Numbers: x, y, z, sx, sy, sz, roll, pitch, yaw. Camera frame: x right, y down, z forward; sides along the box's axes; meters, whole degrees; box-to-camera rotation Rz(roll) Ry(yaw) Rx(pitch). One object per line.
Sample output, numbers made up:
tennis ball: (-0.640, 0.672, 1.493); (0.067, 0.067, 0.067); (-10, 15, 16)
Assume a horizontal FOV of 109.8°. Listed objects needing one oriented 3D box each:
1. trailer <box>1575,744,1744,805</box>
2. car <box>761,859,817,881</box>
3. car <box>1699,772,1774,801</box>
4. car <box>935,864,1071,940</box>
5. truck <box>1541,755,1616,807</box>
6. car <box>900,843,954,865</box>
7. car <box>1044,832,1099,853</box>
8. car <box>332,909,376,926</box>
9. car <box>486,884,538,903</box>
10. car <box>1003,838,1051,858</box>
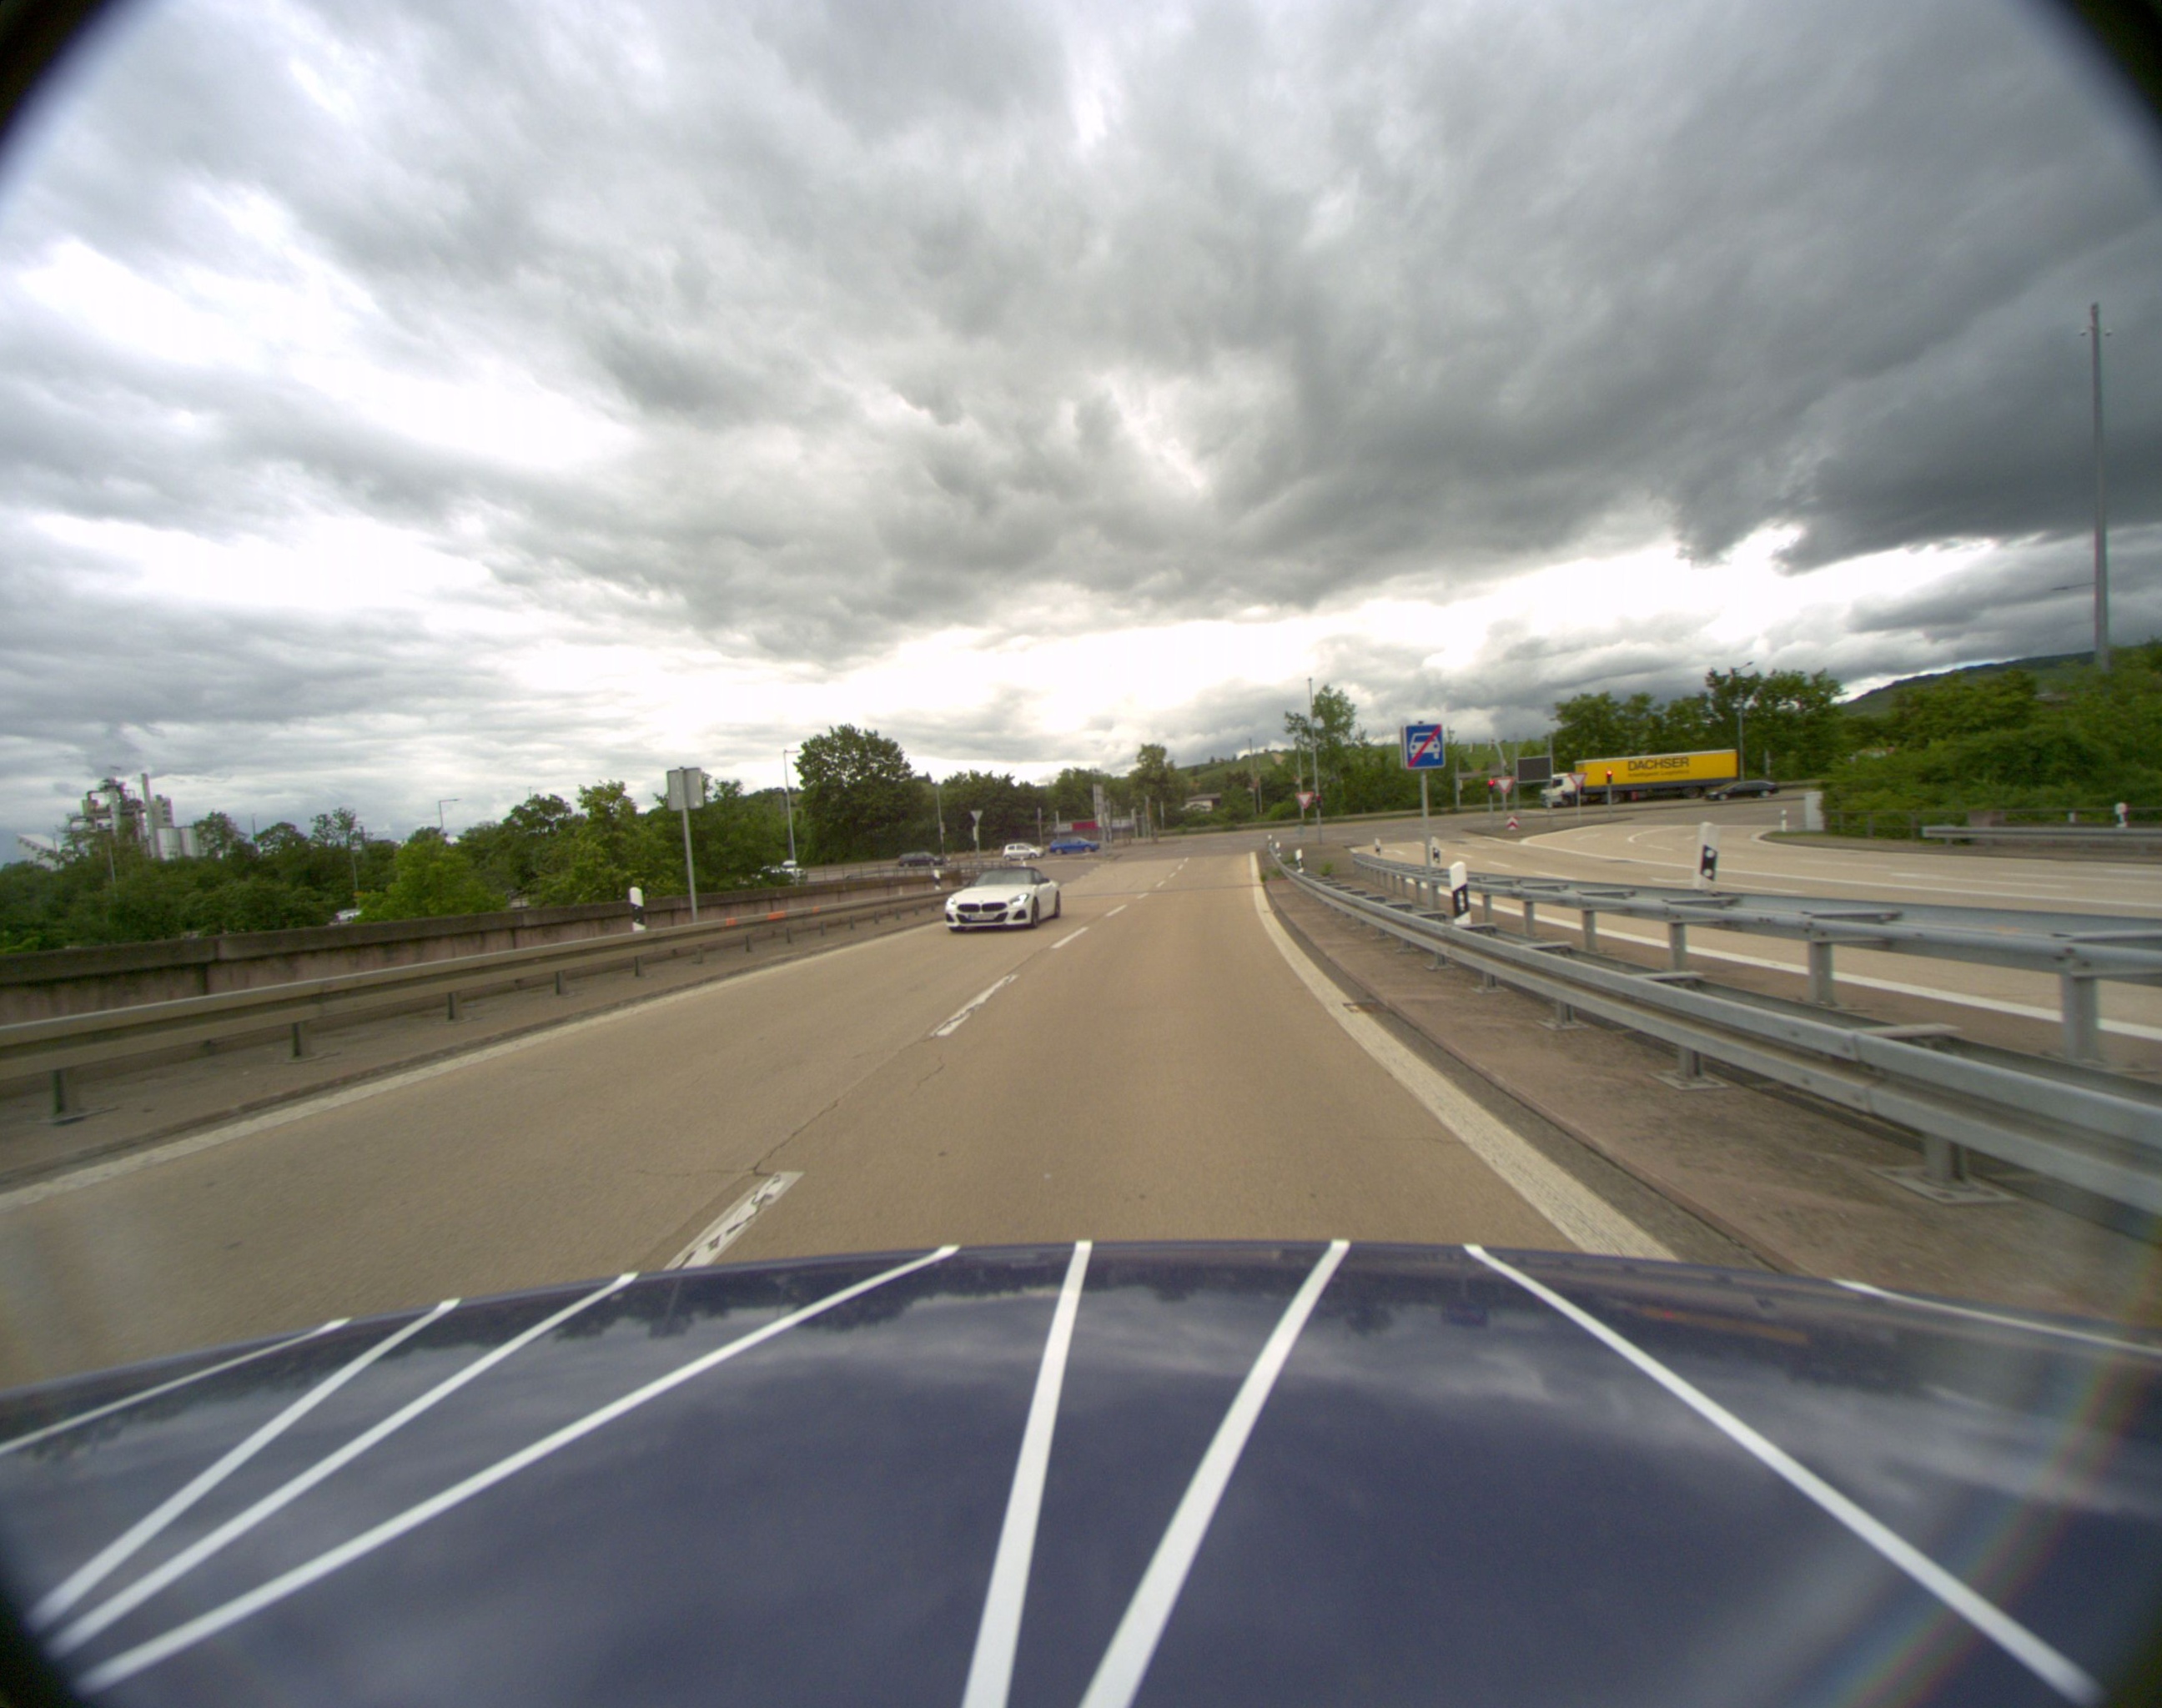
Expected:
trailer: (50.984, -6.937, 67.379); (11.634, 4.182, 2.637); (-4, 4, 18)
car: (-28.716, 1.571, 74.658); (4.708, 1.552, 1.878); (-5, 4, 12)
car: (51.647, -5.340, 59.955); (4.118, 1.653, 1.629); (-7, 5, 16)
car: (-1.596, 0.997, 17.467); (1.861, 1.336, 4.828); (-4, 0, 9)
truck: (45.220, -6.597, 69.182); (5.092, 4.182, 2.637); (-4, 4, 18)
car: (-14.195, 0.029, 70.139); (4.287, 1.548, 1.949); (-5, 4, 16)
car: (-0.860, -0.997, 68.330); (4.534, 1.446, 1.611); (-4, 4, 19)
car: (-83.964, 7.292, 87.809); (3.595, 1.502, 1.650); (-4, 3, 7)
car: (-73.310, 5.106, 97.897); (5.483, 1.746, 2.134); (-5, 4, 14)
car: (-4.704, -0.517, 66.594); (3.742, 1.367, 1.629); (-5, 4, 17)
